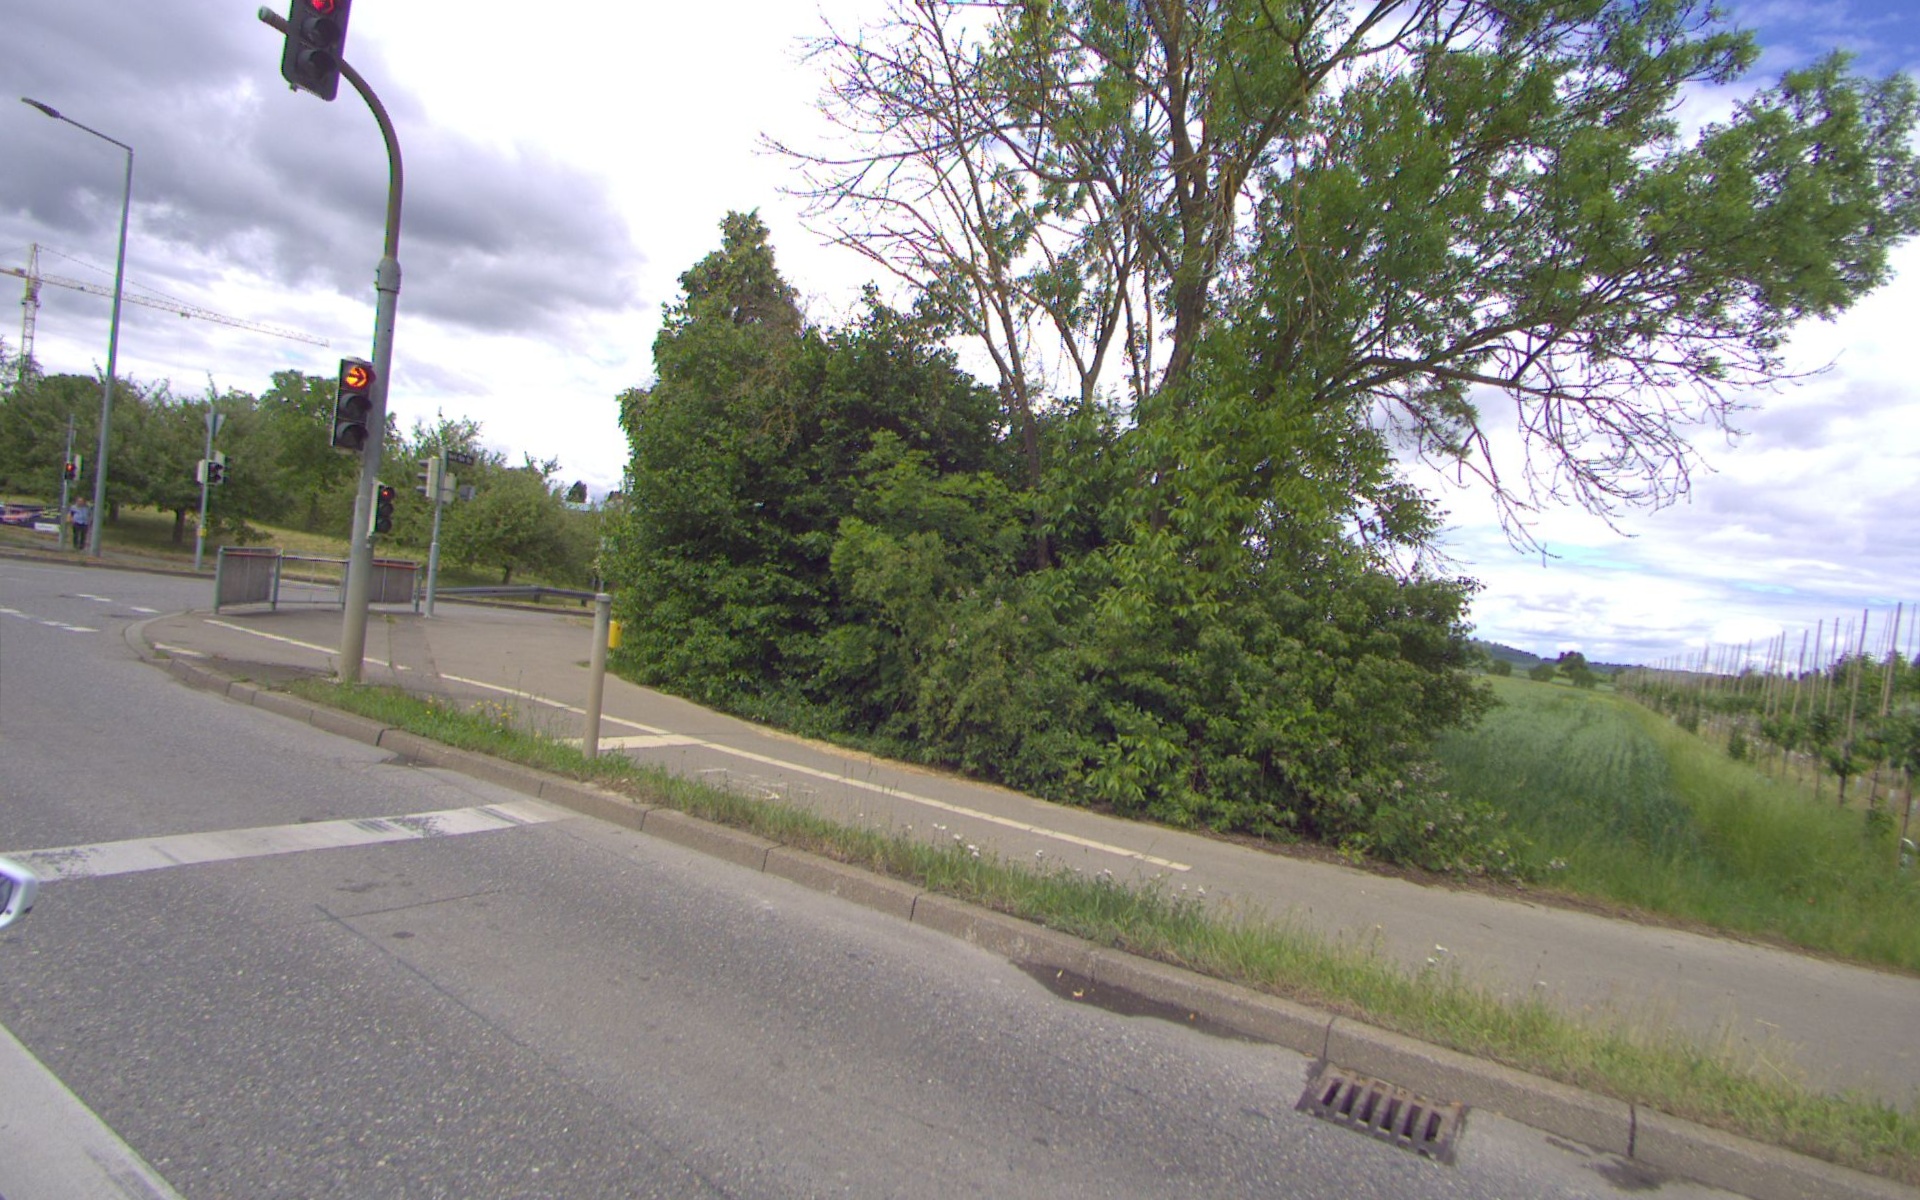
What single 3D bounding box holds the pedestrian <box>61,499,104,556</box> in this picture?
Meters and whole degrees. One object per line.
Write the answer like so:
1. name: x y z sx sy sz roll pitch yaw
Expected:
1. pedestrian: -29.753 -2.456 34.096 1.027 1.813 0.719 6 -1 36
